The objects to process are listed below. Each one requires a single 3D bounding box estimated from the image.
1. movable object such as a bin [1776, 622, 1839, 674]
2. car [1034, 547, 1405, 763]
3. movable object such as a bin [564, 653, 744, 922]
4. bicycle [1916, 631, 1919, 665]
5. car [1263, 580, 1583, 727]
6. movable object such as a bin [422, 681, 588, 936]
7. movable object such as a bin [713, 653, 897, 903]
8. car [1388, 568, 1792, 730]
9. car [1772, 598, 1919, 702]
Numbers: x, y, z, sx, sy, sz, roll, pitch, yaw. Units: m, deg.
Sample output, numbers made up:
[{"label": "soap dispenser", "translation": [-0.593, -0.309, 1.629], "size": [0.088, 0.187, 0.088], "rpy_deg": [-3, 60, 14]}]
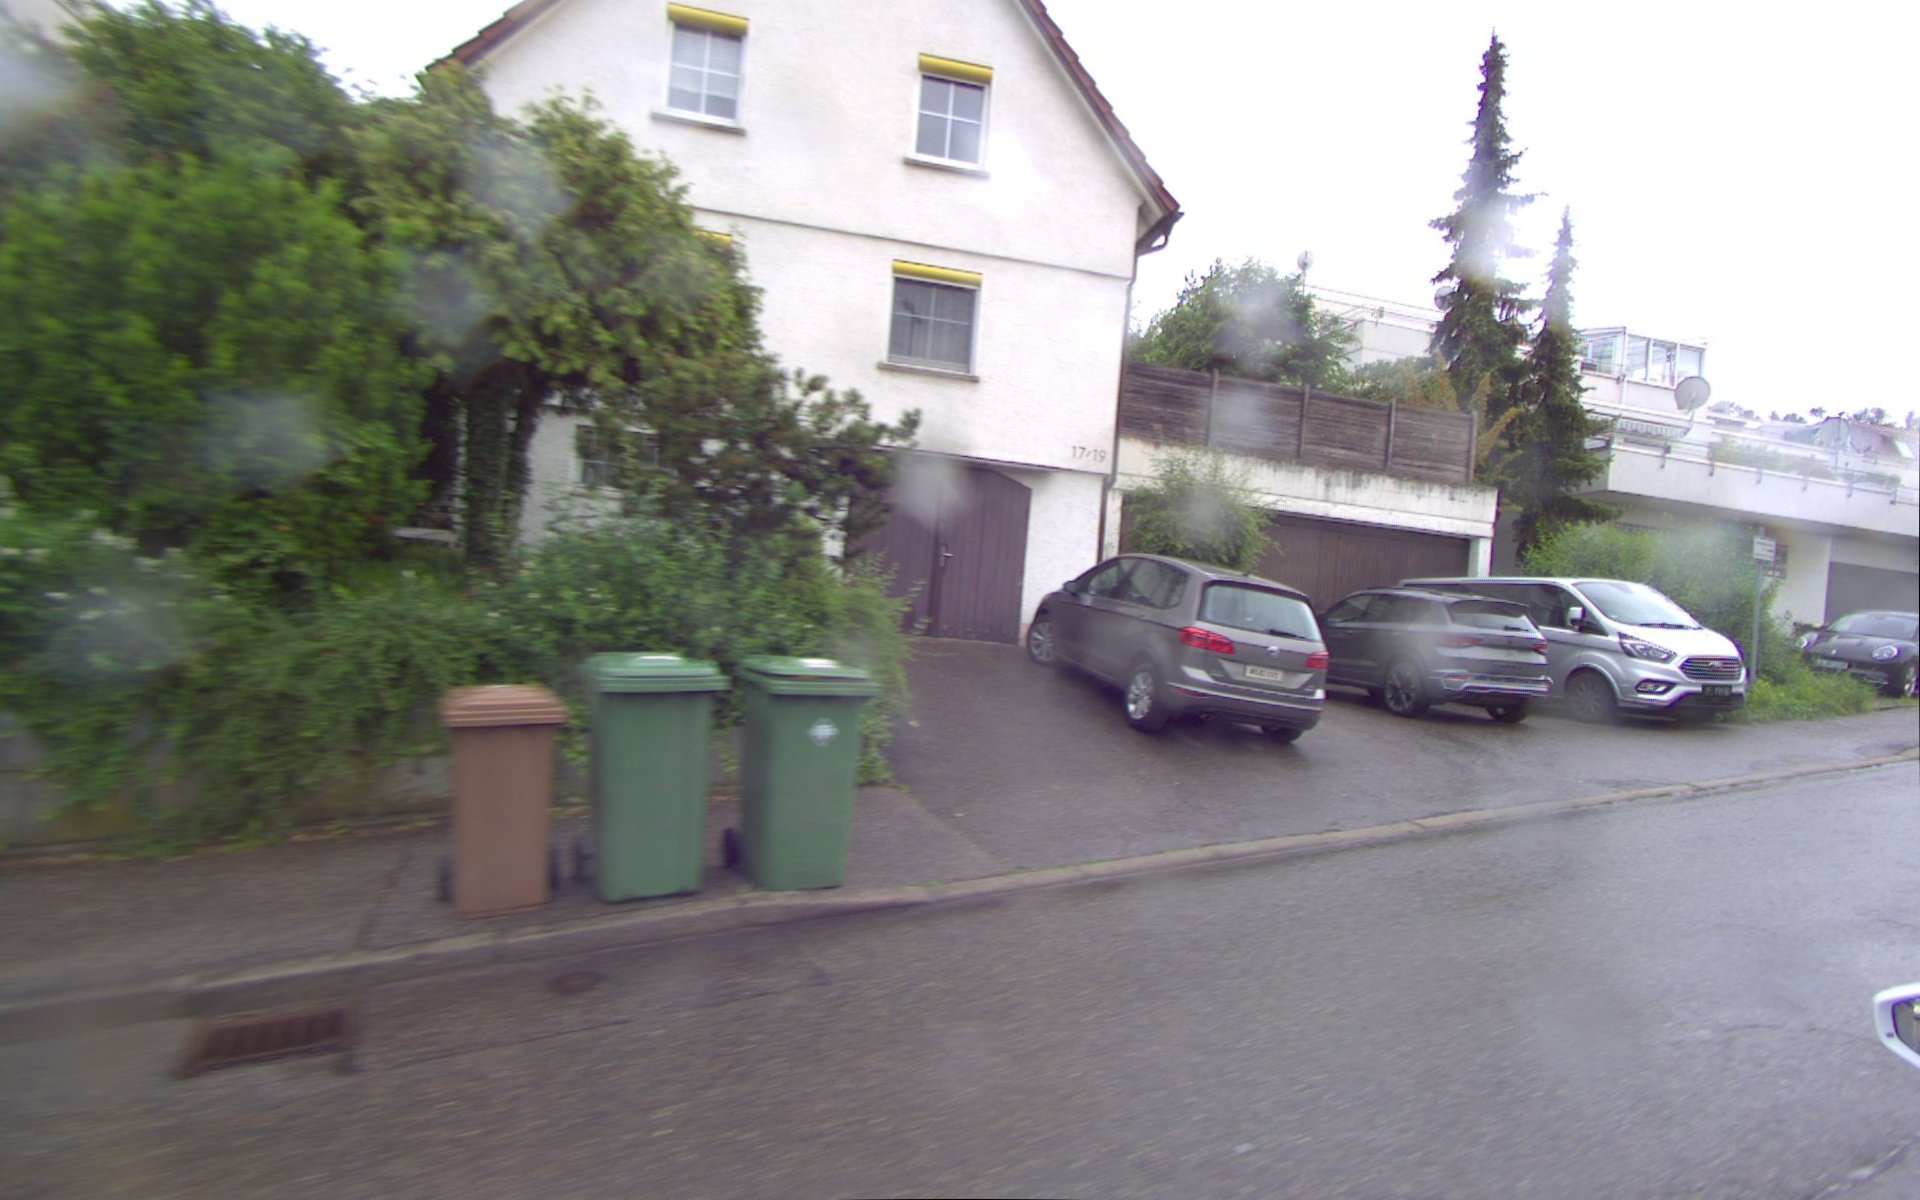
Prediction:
[{"label": "movable object such as a bin", "translation": [19.667, 1.104, 23.318], "size": [0.753, 1.085, 0.725], "rpy_deg": [4, 4, -12]}, {"label": "car", "translation": [2.389, 0.394, 10.479], "size": [1.863, 1.715, 4.053], "rpy_deg": [2, 3, -16]}, {"label": "movable object such as a bin", "translation": [-1.421, 0.809, 4.640], "size": [0.632, 1.078, 0.598], "rpy_deg": [1, 2, -34]}, {"label": "bicycle", "translation": [29.190, 1.490, 29.599], "size": [0.469, 1.020, 1.568], "rpy_deg": [2, 2, -1]}, {"label": "car", "translation": [6.109, 0.610, 13.868], "size": [1.861, 1.660, 4.057], "rpy_deg": [3, 1, -13]}, {"label": "movable object such as a bin", "translation": [-1.992, 0.858, 4.377], "size": [0.558, 0.941, 0.598], "rpy_deg": [1, 2, -34]}, {"label": "movable object such as a bin", "translation": [-0.772, 0.828, 4.978], "size": [0.691, 1.078, 0.598], "rpy_deg": [1, 2, -34]}, {"label": "car", "translation": [8.936, 0.648, 14.950], "size": [2.105, 1.970, 5.088], "rpy_deg": [1, -1, -13]}, {"label": "car", "translation": [17.573, 0.904, 19.054], "size": [4.142, 1.610, 1.682], "rpy_deg": [1, 7, -27]}]
